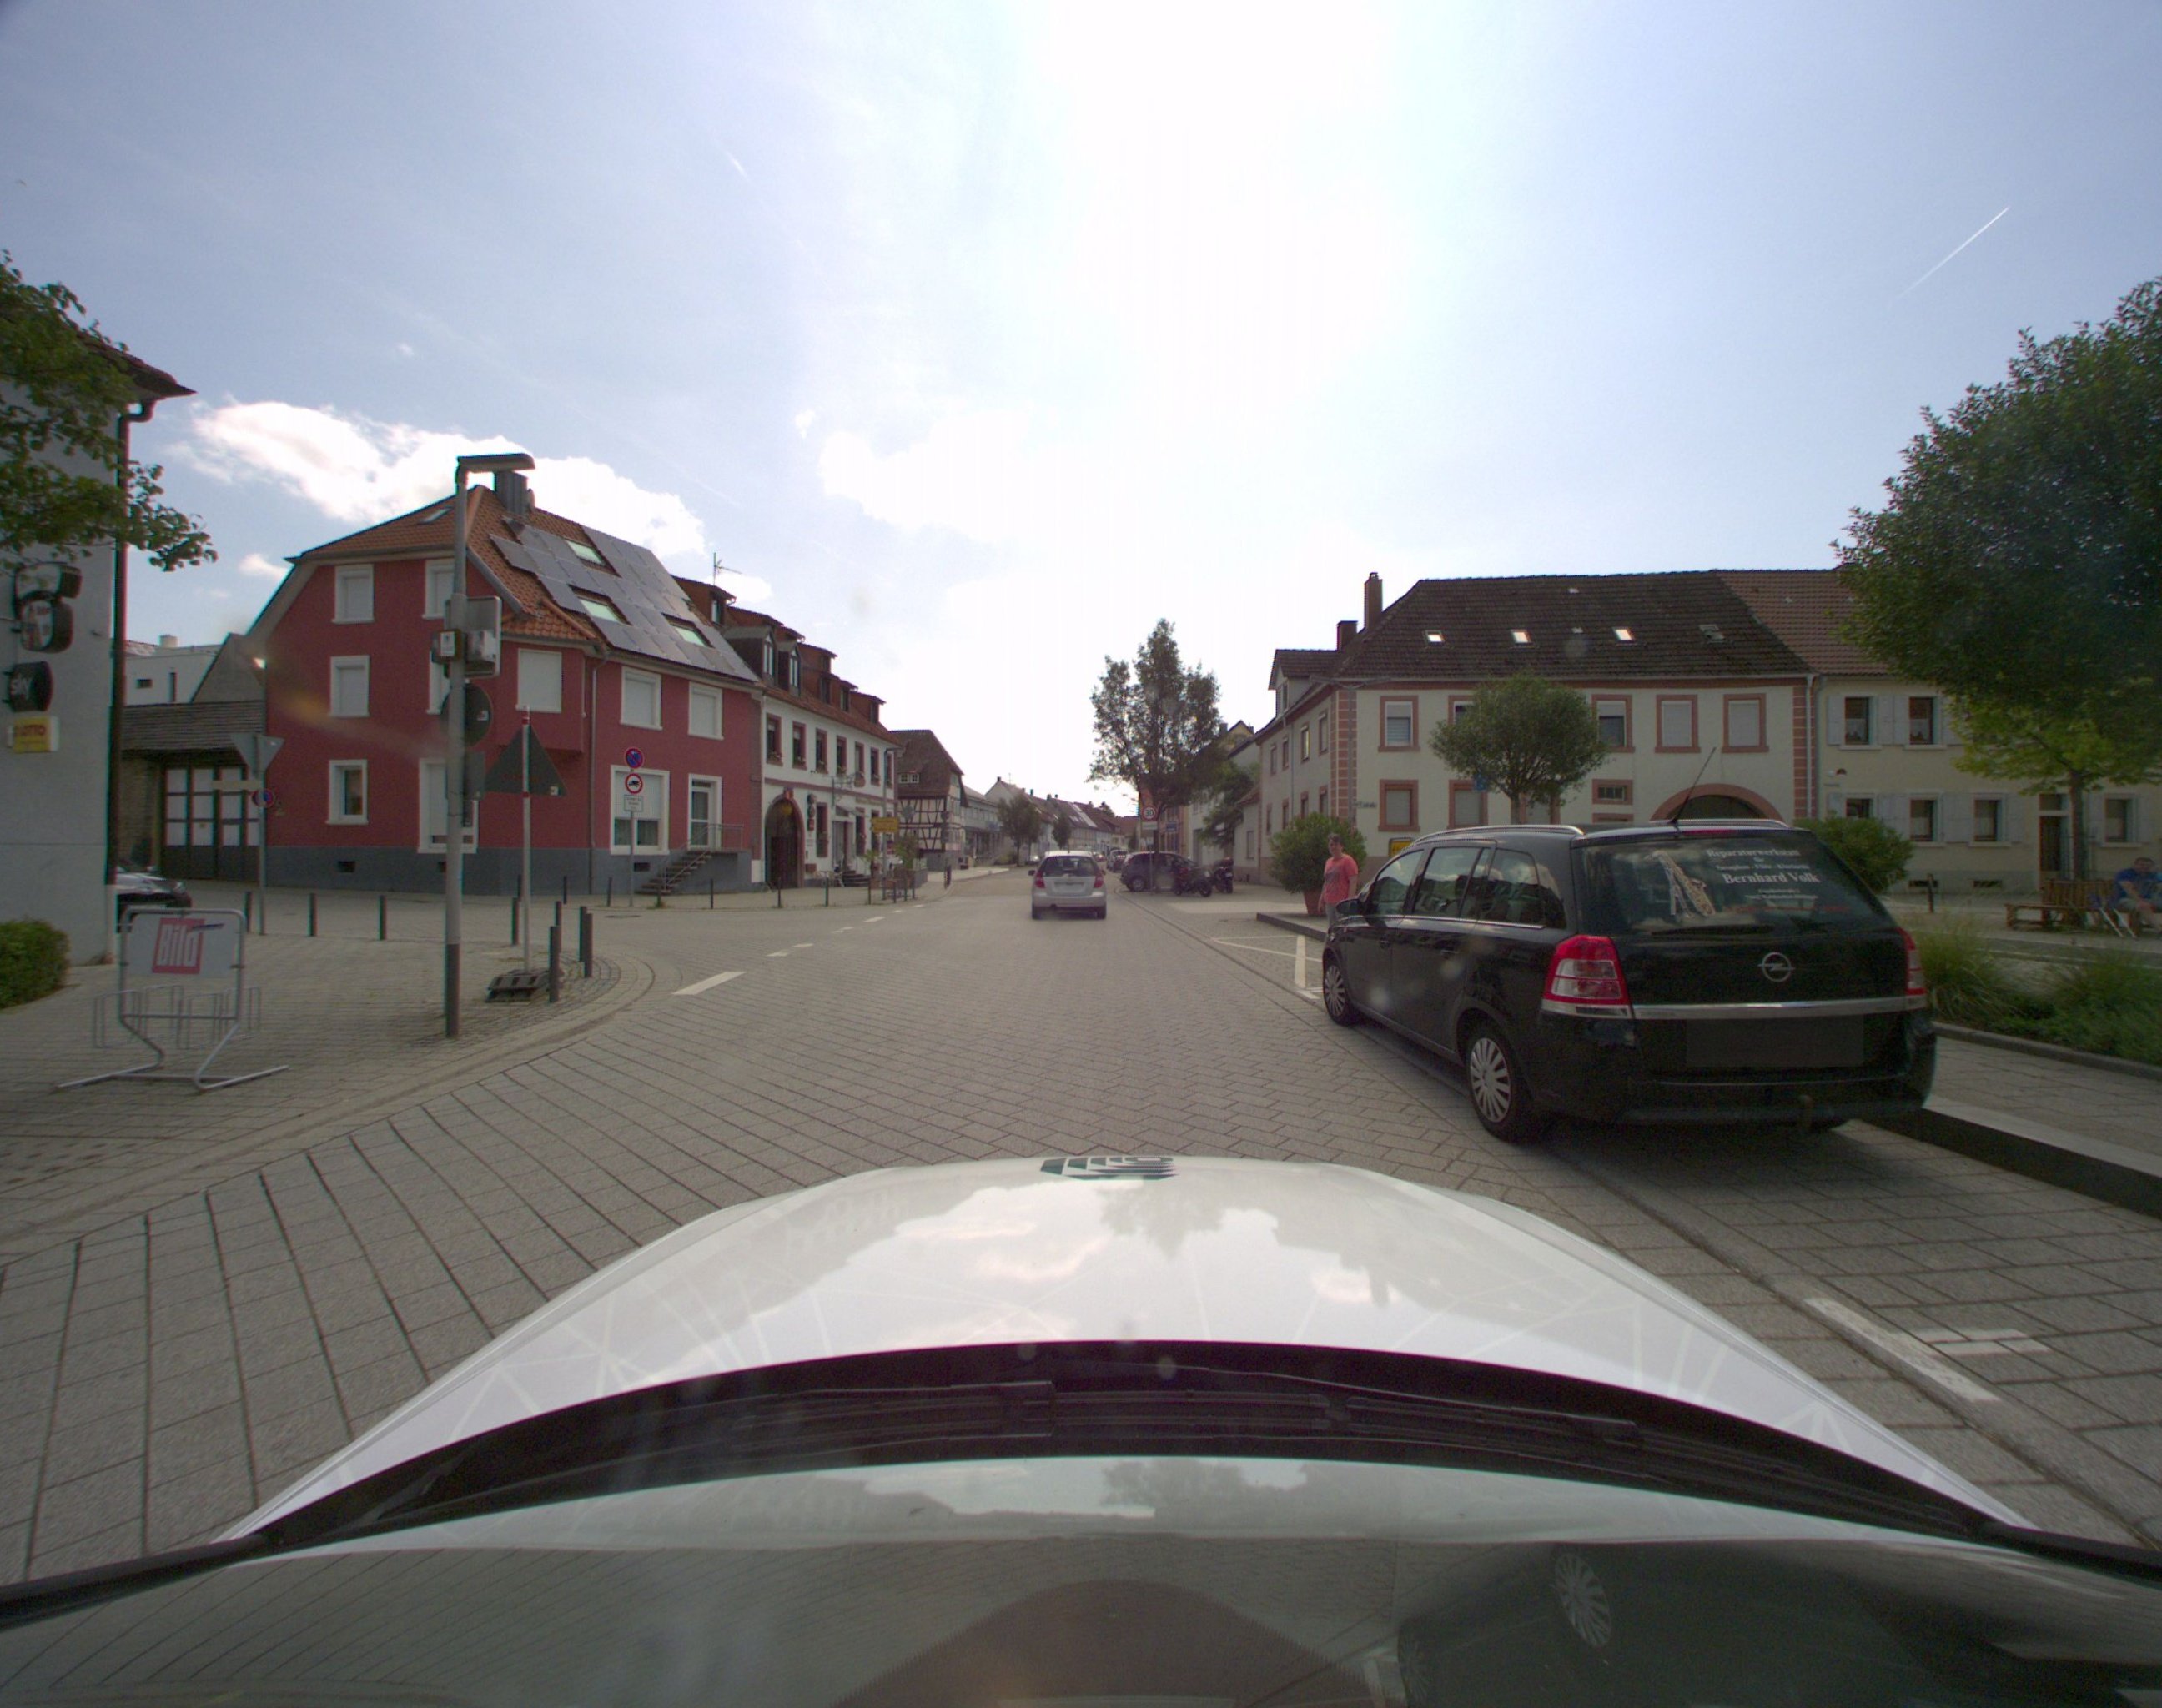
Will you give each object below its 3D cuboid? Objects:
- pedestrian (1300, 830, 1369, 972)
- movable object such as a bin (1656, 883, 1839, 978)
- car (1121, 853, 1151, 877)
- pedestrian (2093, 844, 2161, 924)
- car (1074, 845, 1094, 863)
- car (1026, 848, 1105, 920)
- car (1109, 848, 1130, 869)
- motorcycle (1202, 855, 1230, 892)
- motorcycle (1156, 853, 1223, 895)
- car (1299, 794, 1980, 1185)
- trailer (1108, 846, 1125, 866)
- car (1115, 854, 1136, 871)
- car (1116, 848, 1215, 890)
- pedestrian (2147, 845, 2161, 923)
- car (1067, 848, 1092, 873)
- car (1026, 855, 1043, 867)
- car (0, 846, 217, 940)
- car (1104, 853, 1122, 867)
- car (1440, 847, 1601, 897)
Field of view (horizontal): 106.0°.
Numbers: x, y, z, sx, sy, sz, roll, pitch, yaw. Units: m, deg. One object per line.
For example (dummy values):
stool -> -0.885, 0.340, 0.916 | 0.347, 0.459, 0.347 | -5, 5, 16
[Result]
pedestrian -> 2.999, 0.536, 9.668 | 0.636, 1.629, 0.621 | 0, 0, 3
movable object such as a bin -> 6.931, 0.766, 8.560 | 0.733, 0.866, 1.435 | 0, 0, -2
car -> 4.077, 0.770, 60.642 | 1.986, 1.680, 4.323 | 0, 0, 1
pedestrian -> 17.344, 0.484, 13.474 | 0.606, 1.284, 0.677 | -2, -1, 40
car -> 0.421, 0.008, 101.584 | 2.226, 2.222, 4.004 | -1, -1, 4
car -> -0.362, 0.669, 20.491 | 1.763, 1.594, 3.999 | -1, 0, -1
car -> 3.851, 0.459, 81.551 | 1.885, 1.982, 4.931 | -2, 0, 1
motorcycle -> 5.051, 0.725, 30.636 | 0.954, 1.298, 2.231 | -2, 0, 8
motorcycle -> 3.746, 0.678, 28.285 | 2.197, 1.395, 0.878 | -1, 0, 43
car -> 2.917, 0.568, 5.615 | 1.762, 1.564, 4.421 | -3, 0, 2
trailer -> 4.234, 0.202, 96.320 | 1.839, 2.354, 3.589 | -1, 0, 0
car -> 3.992, 0.755, 73.339 | 1.768, 1.495, 4.162 | 0, 0, 1
car -> 3.467, 0.594, 33.944 | 3.840, 1.577, 1.848 | -2, 0, -3
pedestrian -> 18.075, 0.486, 13.355 | 0.530, 1.284, 0.795 | -2, -1, 40
car -> -0.072, 0.526, 66.418 | 1.762, 1.888, 4.449 | 2, 0, 2
car -> -6.240, 0.910, 109.036 | 1.797, 1.460, 4.161 | 1, 0, 3
car -> -17.966, 0.626, 14.419 | 3.916, 1.518, 1.779 | 0, 0, 10
car -> 3.542, 0.668, 90.857 | 1.869, 1.481, 4.675 | 1, 0, 1
car -> 13.424, 0.530, 25.077 | 3.973, 1.473, 1.828 | 0, 0, 5
